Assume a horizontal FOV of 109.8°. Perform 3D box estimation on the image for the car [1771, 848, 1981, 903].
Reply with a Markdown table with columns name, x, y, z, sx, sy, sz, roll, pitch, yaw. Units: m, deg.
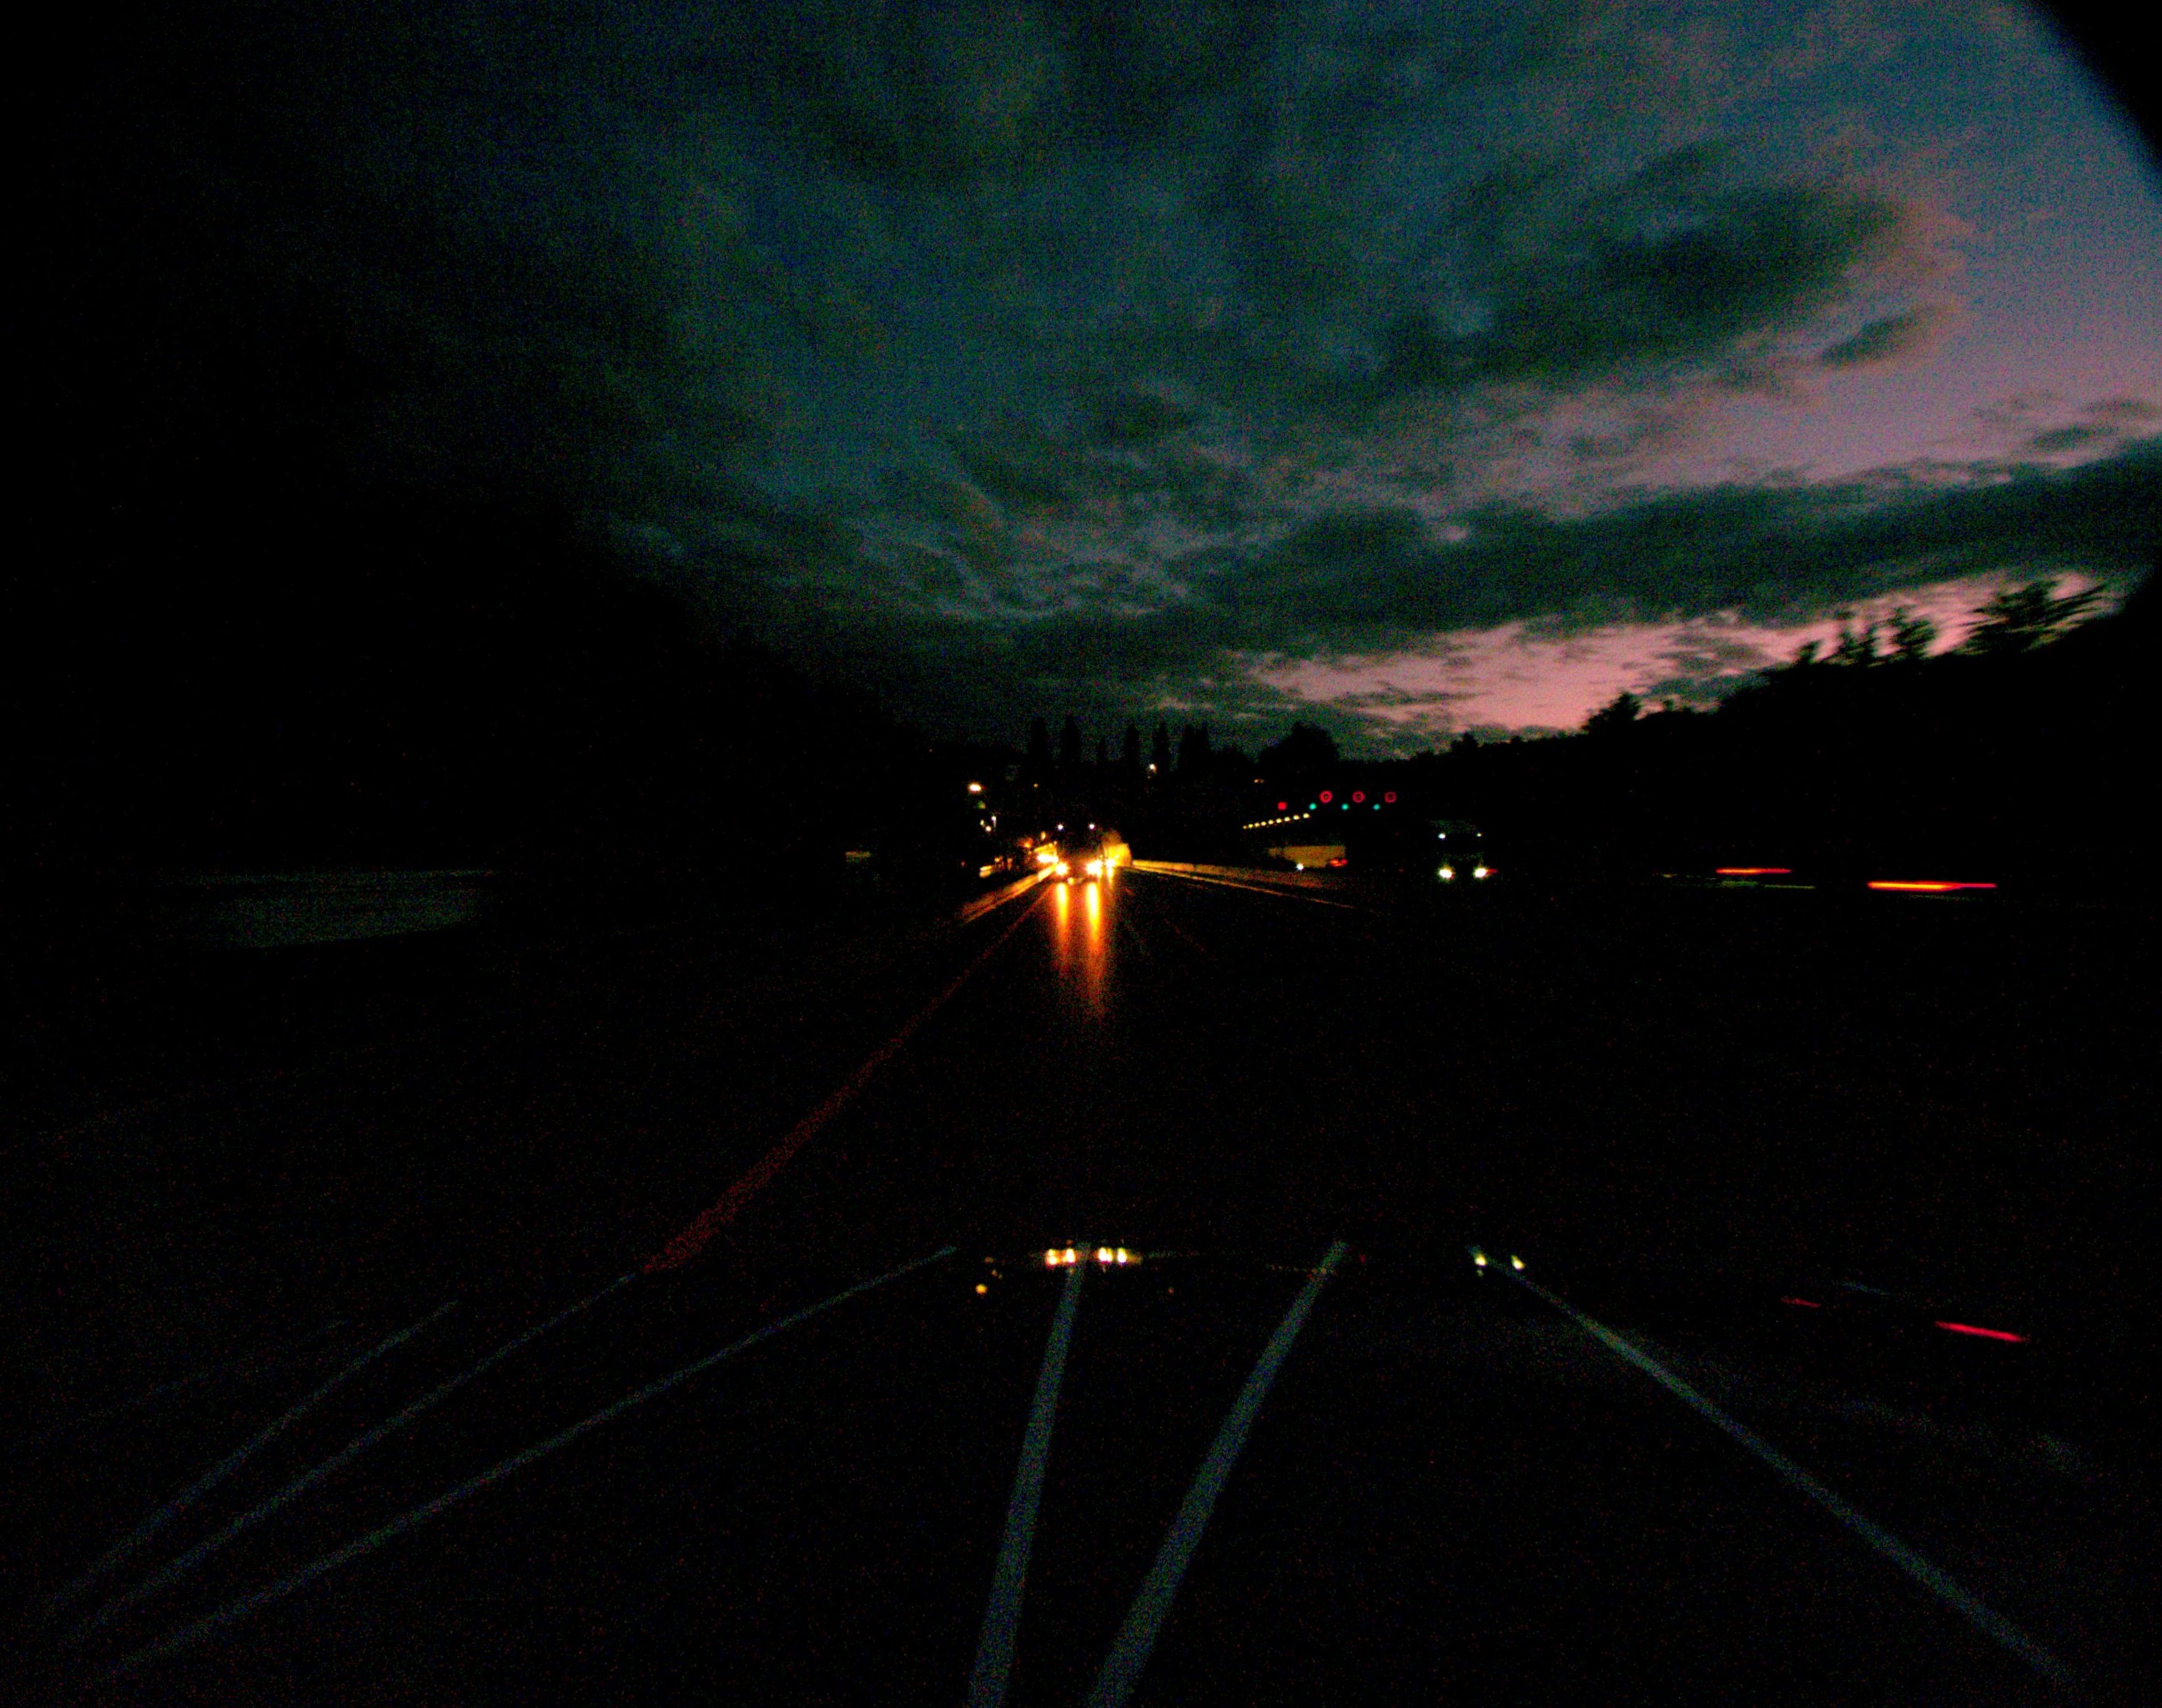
| name | x | y | z | sx | sy | sz | roll | pitch | yaw |
| --- | --- | --- | --- | --- | --- | --- | --- | --- | --- |
| car | 24.449 | 0.584 | 23.679 | 1.754 | 1.446 | 4.670 | -3 | 1 | 2 |

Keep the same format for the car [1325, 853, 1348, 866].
| name | x | y | z | sx | sy | sz | roll | pitch | yaw |
| --- | --- | --- | --- | --- | --- | --- | --- | --- | --- |
| car | 32.862 | 0.675 | 97.797 | 1.580 | 1.461 | 4.095 | -3 | 1 | 2 |

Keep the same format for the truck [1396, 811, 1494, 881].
| name | x | y | z | sx | sy | sz | roll | pitch | yaw |
| --- | --- | --- | --- | --- | --- | --- | --- | --- | --- |
| truck | 21.540 | -0.491 | 45.393 | 2.809 | 3.753 | 6.302 | -3 | 1 | 1 |

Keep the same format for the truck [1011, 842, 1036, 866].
| name | x | y | z | sx | sy | sz | roll | pitch | yaw |
| --- | --- | --- | --- | --- | --- | --- | --- | --- | --- |
| truck | -8.355 | -0.070 | 110.811 | 2.825 | 3.267 | 8.352 | -3 | 1 | 1 |

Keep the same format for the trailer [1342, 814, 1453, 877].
| name | x | y | z | sx | sy | sz | roll | pitch | yaw |
| --- | --- | --- | --- | --- | --- | --- | --- | --- | --- |
| trailer | 21.641 | -0.576 | 52.949 | 2.806 | 3.761 | 11.834 | -3 | 1 | 1 |

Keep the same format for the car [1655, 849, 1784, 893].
| name | x | y | z | sx | sy | sz | roll | pitch | yaw |
| --- | --- | --- | --- | --- | --- | --- | --- | --- | --- |
| car | 27.824 | 0.694 | 33.342 | 1.755 | 1.712 | 4.669 | -3 | 1 | 1 |

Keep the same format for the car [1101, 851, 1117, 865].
| name | x | y | z | sx | sy | sz | roll | pitch | yaw |
| --- | --- | --- | --- | --- | --- | --- | --- | --- | --- |
| car | 3.237 | 0.434 | 89.040 | 1.663 | 1.586 | 3.996 | -3 | 1 | 1 |

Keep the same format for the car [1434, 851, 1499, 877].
| name | x | y | z | sx | sy | sz | roll | pitch | yaw |
| --- | --- | --- | --- | --- | --- | --- | --- | --- | --- |
| car | 25.463 | 0.612 | 50.397 | 1.811 | 1.579 | 4.877 | -3 | 1 | 1 |

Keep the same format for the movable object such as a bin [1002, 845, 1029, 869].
| name | x | y | z | sx | sy | sz | roll | pitch | yaw |
| --- | --- | --- | --- | --- | --- | --- | --- | --- | --- |
| movable object such as a bin | -8.591 | 0.351 | 100.161 | 2.978 | 2.811 | 7.194 | -3 | 1 | -1 |

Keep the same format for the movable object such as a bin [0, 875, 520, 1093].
| name | x | y | z | sx | sy | sz | roll | pitch | yaw |
| --- | --- | --- | --- | --- | --- | --- | --- | --- | --- |
| movable object such as a bin | -8.629 | 1.117 | 8.244 | 1.998 | 1.592 | 4.084 | 0 | 1 | 1 |

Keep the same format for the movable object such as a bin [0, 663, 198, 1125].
| name | x | y | z | sx | sy | sz | roll | pitch | yaw |
| --- | --- | --- | --- | --- | --- | --- | --- | --- | --- |
| movable object such as a bin | -8.553 | 0.297 | 3.269 | 2.627 | 3.090 | 5.805 | -1 | 1 | 0 |

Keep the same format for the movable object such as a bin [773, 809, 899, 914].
| name | x | y | z | sx | sy | sz | roll | pitch | yaw |
| --- | --- | --- | --- | --- | --- | --- | --- | --- | --- |
| movable object such as a bin | -8.356 | 0.212 | 26.666 | 2.570 | 3.299 | 5.578 | 0 | 1 | 0 |

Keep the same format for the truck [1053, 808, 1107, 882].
| name | x | y | z | sx | sy | sz | roll | pitch | yaw |
| --- | --- | --- | --- | --- | --- | --- | --- | --- | --- |
| truck | 0.020 | -0.595 | 50.188 | 2.954 | 4.241 | 11.052 | -3 | 1 | 1 |
